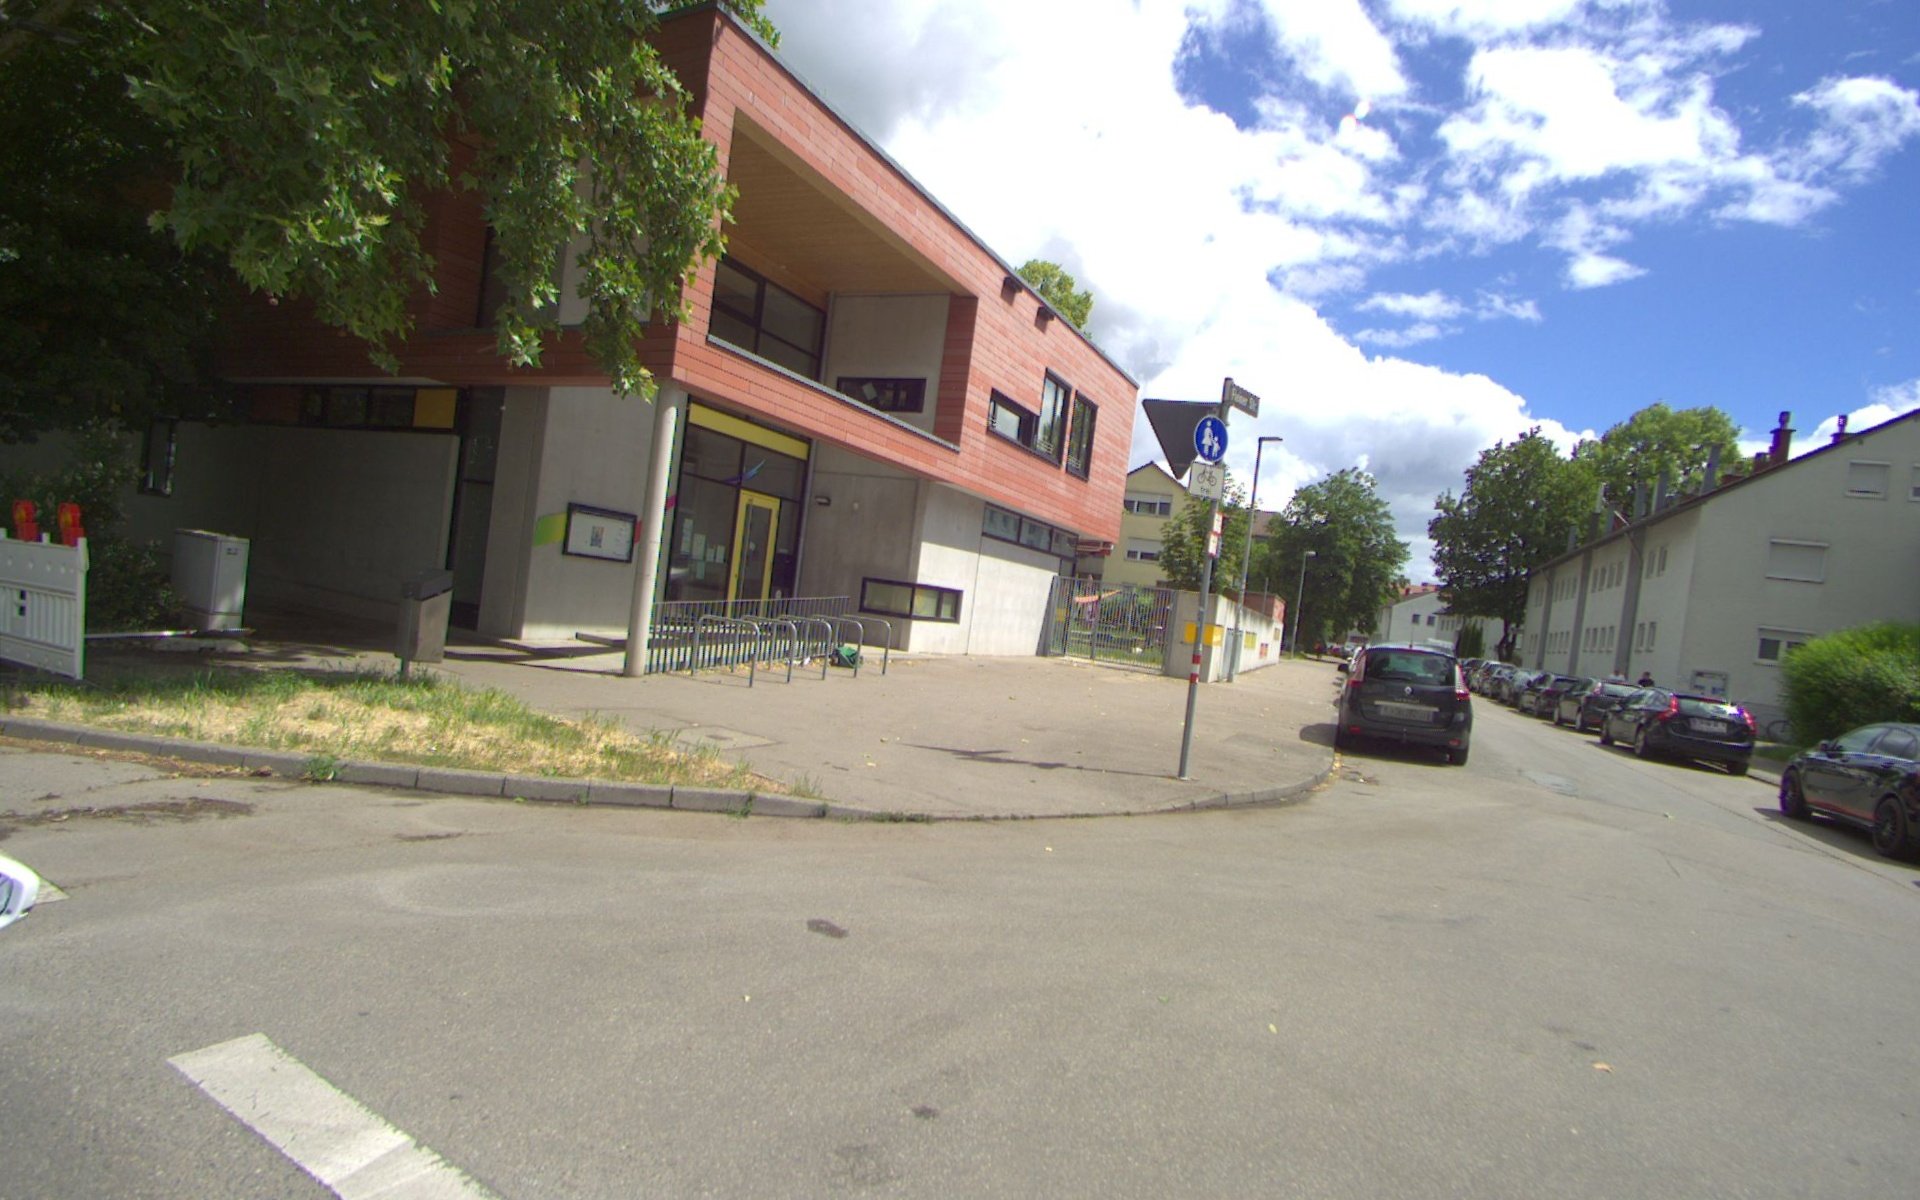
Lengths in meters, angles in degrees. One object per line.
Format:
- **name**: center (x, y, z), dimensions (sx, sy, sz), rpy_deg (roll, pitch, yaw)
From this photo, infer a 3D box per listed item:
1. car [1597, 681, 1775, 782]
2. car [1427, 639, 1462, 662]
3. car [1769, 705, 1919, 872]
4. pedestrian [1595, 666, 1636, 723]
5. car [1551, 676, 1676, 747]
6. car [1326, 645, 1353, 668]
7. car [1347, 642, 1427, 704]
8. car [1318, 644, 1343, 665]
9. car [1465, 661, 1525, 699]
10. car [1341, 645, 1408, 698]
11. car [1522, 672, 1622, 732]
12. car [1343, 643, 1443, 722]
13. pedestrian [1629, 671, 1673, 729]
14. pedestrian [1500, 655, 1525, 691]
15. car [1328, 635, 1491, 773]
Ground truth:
- **car**: center (14.714, 2.592, 20.668), dimensions (1.841, 1.472, 4.121), rpy_deg (7, 0, 21)
- **car**: center (36.476, 3.806, 75.823), dimensions (1.923, 1.426, 4.059), rpy_deg (7, 0, 22)
- **car**: center (11.082, 2.165, 11.627), dimensions (1.498, 1.462, 3.997), rpy_deg (8, 1, 23)
- **pedestrian**: center (22.171, 3.189, 34.033), dimensions (0.824, 1.775, 0.953), rpy_deg (7, 0, 22)
- **car**: center (17.462, 2.922, 27.099), dimensions (1.923, 1.426, 4.060), rpy_deg (7, 0, 22)
- **car**: center (34.792, 5.144, 92.225), dimensions (1.963, 1.842, 4.000), rpy_deg (7, 0, 19)
- **car**: center (12.537, 2.097, 29.567), dimensions (1.858, 1.474, 4.241), rpy_deg (7, 0, 23)
- **car**: center (37.679, 5.533, 102.374), dimensions (1.962, 1.857, 4.001), rpy_deg (7, 0, 17)
- **car**: center (24.946, 3.680, 47.038), dimensions (1.923, 1.426, 4.060), rpy_deg (7, 0, 22)
- **car**: center (14.209, 2.403, 34.477), dimensions (1.858, 1.474, 4.241), rpy_deg (7, 0, 23)
- **car**: center (19.241, 3.165, 31.794), dimensions (1.923, 1.426, 4.060), rpy_deg (7, 0, 22)
- **car**: center (10.305, 1.906, 24.014), dimensions (1.858, 1.474, 4.241), rpy_deg (7, 0, 23)
- **pedestrian**: center (22.975, 3.315, 33.470), dimensions (0.824, 1.775, 0.953), rpy_deg (7, 0, 22)
- **pedestrian**: center (29.154, 3.839, 53.100), dimensions (0.824, 1.775, 0.953), rpy_deg (7, 0, 22)
- **car**: center (6.929, 1.506, 15.682), dimensions (1.858, 1.624, 4.241), rpy_deg (7, 0, 23)
